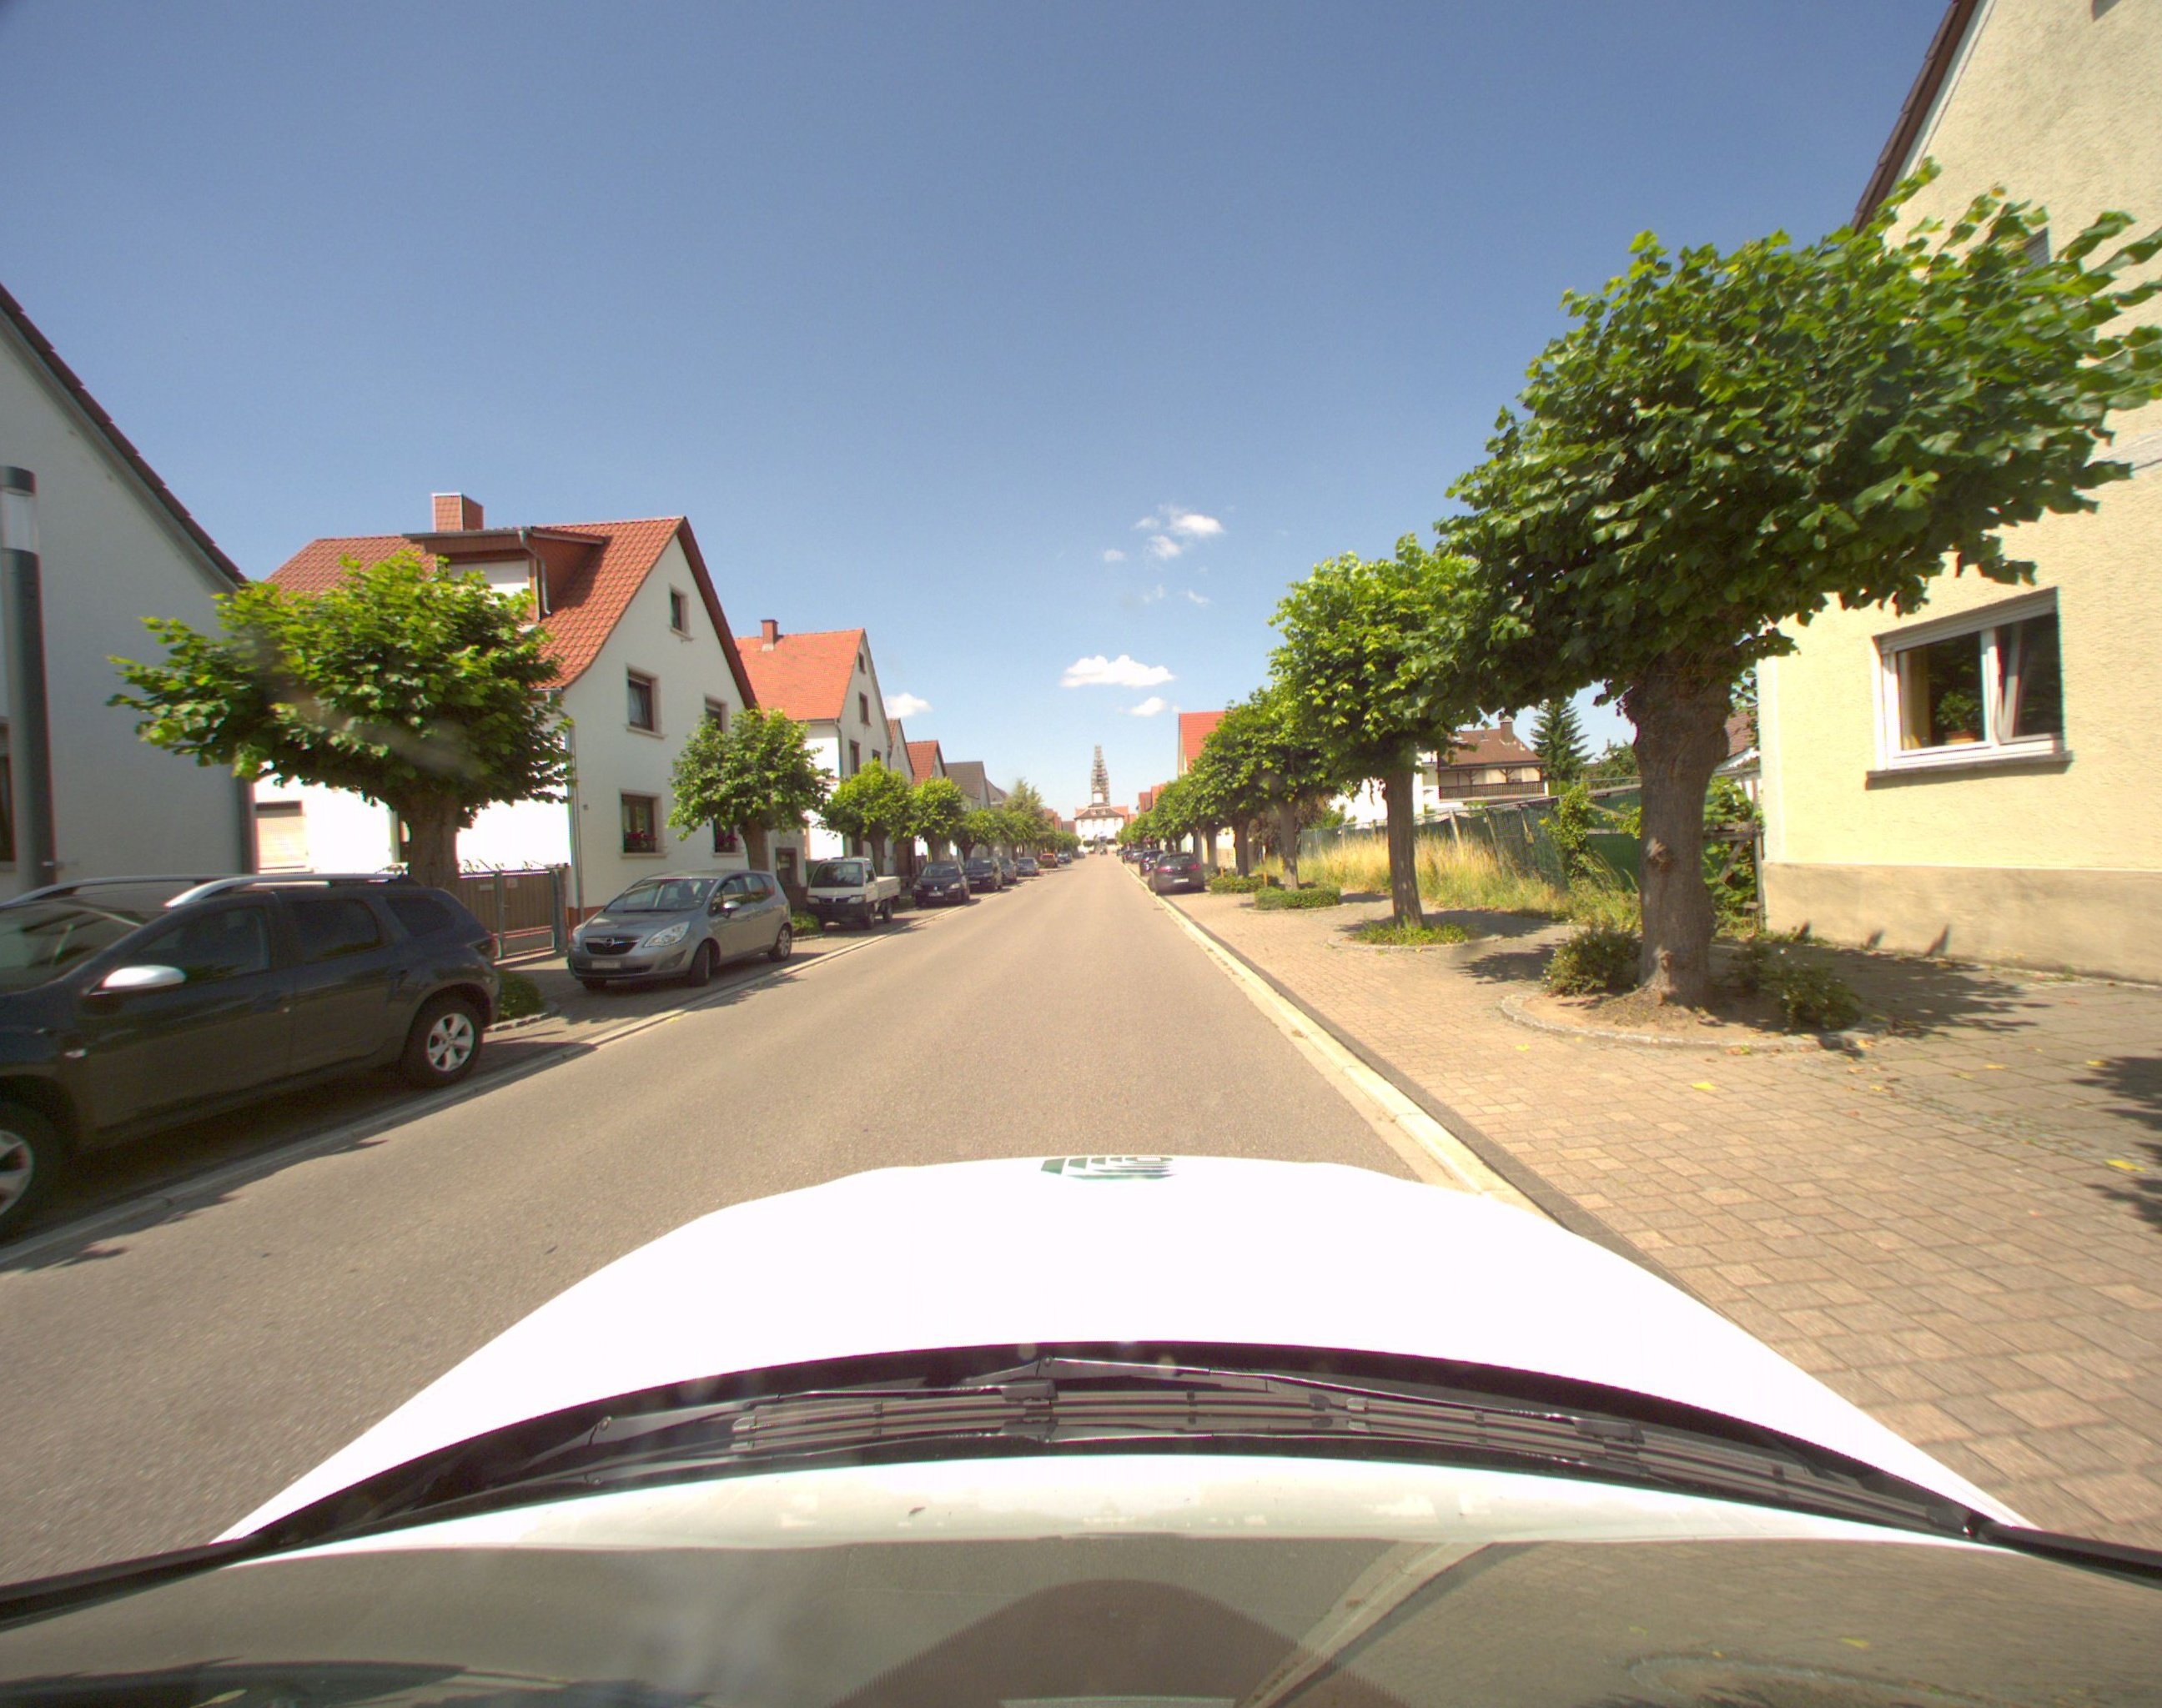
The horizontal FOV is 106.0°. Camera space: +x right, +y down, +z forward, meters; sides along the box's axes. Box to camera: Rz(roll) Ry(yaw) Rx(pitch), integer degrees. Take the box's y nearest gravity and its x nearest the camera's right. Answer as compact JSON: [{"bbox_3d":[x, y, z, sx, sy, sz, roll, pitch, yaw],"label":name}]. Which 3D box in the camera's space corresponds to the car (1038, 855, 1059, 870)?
[{"bbox_3d":[-3.640,0.963,91.874,1.985,1.611,4.692,-1,0,3],"label":"car"}]

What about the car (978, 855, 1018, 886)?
[{"bbox_3d":[-4.787,0.942,47.546,1.988,1.652,4.364,-1,0,-2],"label":"car"}]

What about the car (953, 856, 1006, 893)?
[{"bbox_3d":[-4.718,0.933,38.408,1.846,1.635,4.058,-1,0,2],"label":"car"}]

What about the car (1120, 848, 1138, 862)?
[{"bbox_3d":[5.806,0.088,98.962,1.831,1.555,4.315,-5,0,1],"label":"car"}]

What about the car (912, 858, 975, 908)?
[{"bbox_3d":[-4.894,0.986,29.435,1.782,1.634,3.994,-2,0,-4],"label":"car"}]

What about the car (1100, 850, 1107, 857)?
[{"bbox_3d":[5.017,-0.183,181.331,1.723,1.547,3.457,-1,0,2],"label":"car"}]

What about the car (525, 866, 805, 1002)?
[{"bbox_3d":[-5.911,1.027,12.295,1.846,1.613,4.372,-1,0,2],"label":"car"}]

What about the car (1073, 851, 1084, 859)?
[{"bbox_3d":[-0.492,0.243,162.037,1.985,1.611,3.857,-1,0,3],"label":"car"}]

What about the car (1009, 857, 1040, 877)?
[{"bbox_3d":[-4.255,0.950,61.855,1.834,1.396,4.407,-2,0,1],"label":"car"}]

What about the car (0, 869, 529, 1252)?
[{"bbox_3d":[-5.808,0.986,4.946,1.846,1.636,4.301,-1,1,2],"label":"car"}]

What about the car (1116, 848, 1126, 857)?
[{"bbox_3d":[7.901,-0.302,161.794,1.830,1.555,4.316,-5,0,2],"label":"car"}]

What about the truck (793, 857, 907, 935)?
[{"bbox_3d":[-5.746,0.967,20.768,1.570,1.765,4.194,-1,0,2],"label":"truck"}]

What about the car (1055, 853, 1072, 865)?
[{"bbox_3d":[-2.396,0.673,113.254,1.985,1.611,4.692,-2,1,3],"label":"car"}]

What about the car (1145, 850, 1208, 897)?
[{"bbox_3d":[3.396,0.641,29.549,1.817,1.432,4.058,-5,0,2],"label":"car"}]

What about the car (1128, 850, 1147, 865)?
[{"bbox_3d":[6.351,0.404,91.264,1.831,1.607,4.000,-3,0,0],"label":"car"}]

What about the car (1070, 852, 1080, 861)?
[{"bbox_3d":[-1.171,0.532,156.304,1.751,1.555,4.022,-3,0,2],"label":"car"}]

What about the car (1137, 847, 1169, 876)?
[{"bbox_3d":[4.509,0.449,50.831,1.815,1.586,4.063,-4,0,6],"label":"car"}]
